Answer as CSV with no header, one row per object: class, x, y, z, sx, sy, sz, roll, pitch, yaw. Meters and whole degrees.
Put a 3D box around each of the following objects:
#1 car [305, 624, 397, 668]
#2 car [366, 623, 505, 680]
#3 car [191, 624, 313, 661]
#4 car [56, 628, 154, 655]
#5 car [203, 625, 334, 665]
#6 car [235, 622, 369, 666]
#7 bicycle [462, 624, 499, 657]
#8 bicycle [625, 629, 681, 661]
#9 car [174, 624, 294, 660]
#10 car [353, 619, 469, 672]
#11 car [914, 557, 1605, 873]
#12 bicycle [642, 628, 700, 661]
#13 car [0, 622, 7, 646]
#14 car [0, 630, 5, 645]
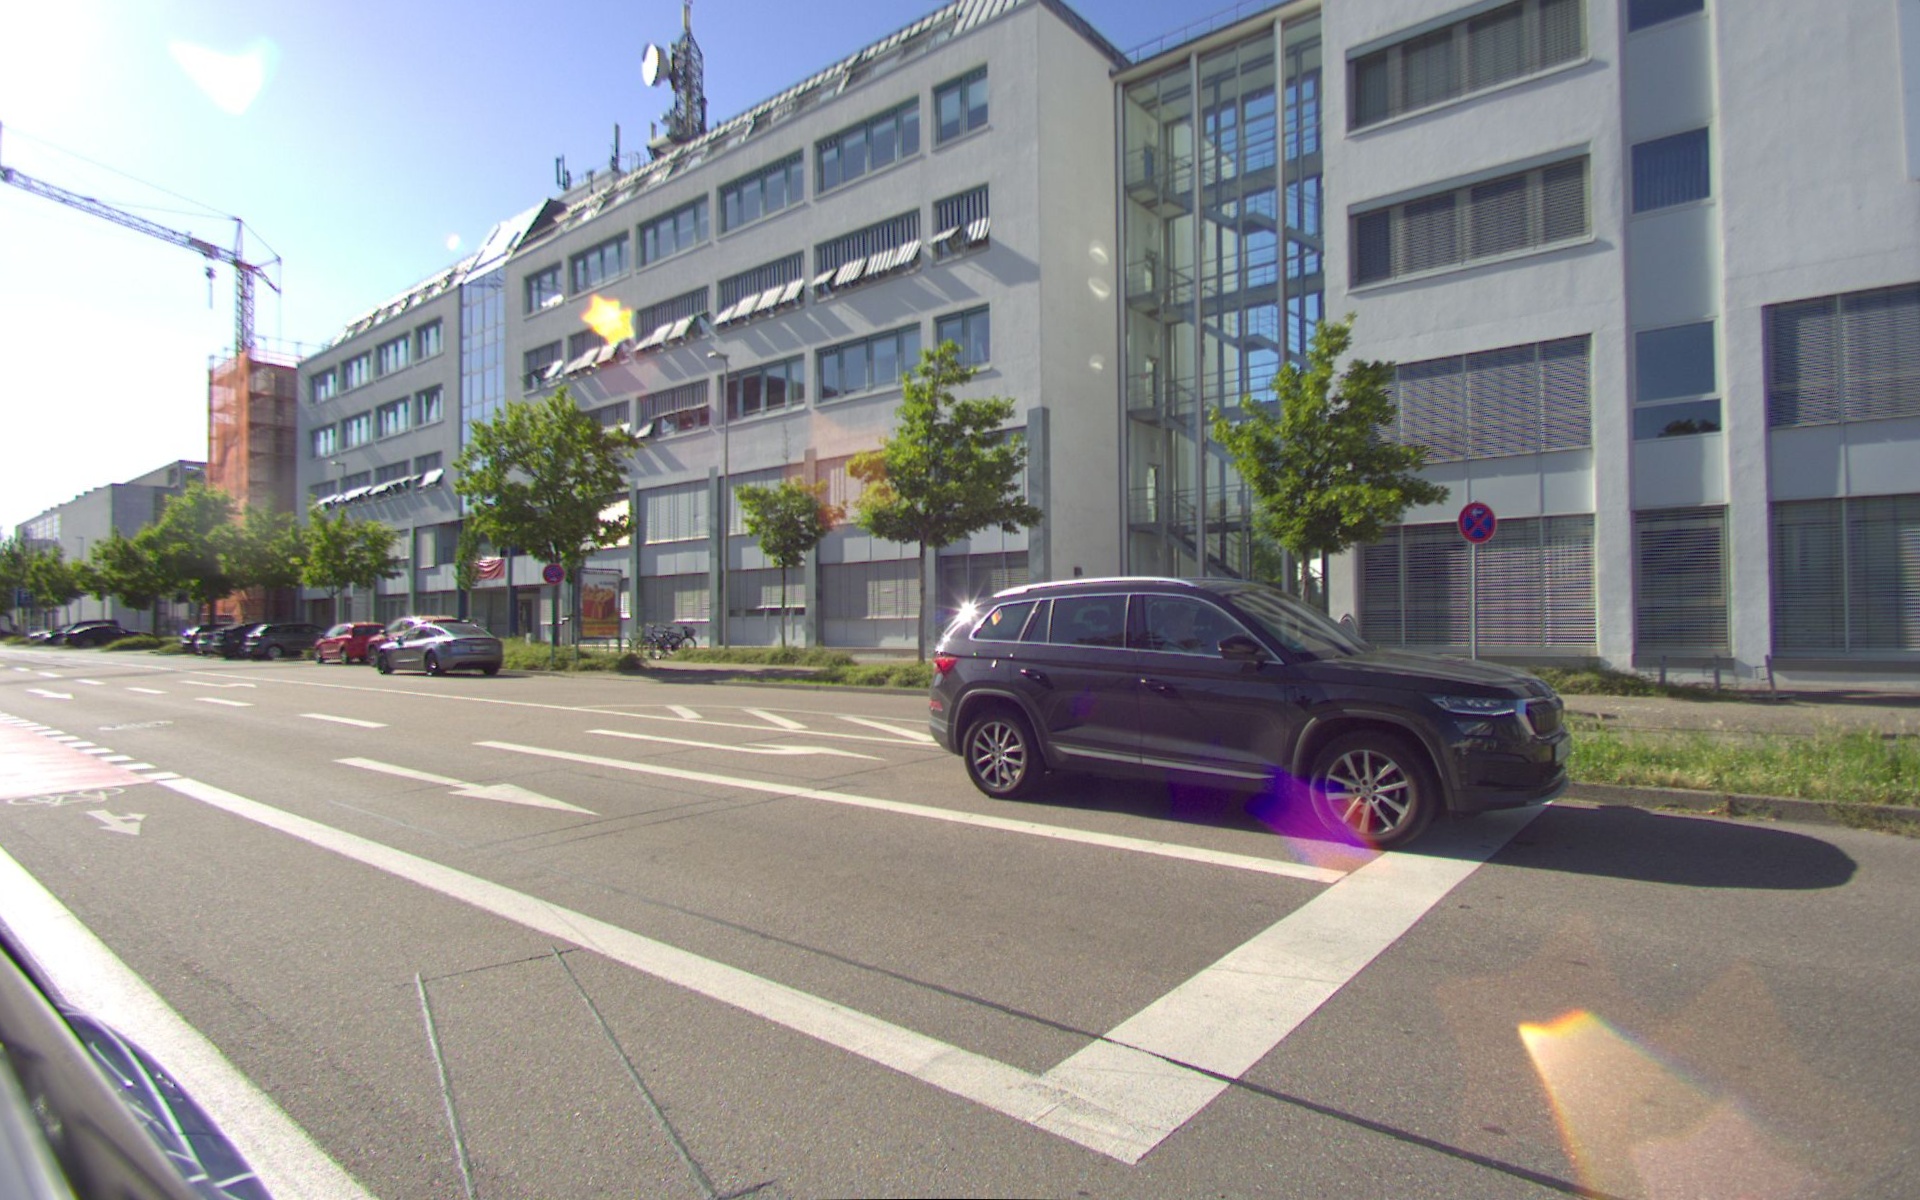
car,-22.178,1.656,36.814,3.868,1.442,1.671,-2,0,40
car,-14.763,1.424,28.380,4.539,1.479,1.672,-2,-3,37
car,-32.848,1.947,47.071,1.691,1.442,4.344,-2,0,37
car,-53.441,2.571,63.337,1.973,1.442,4.347,-2,0,36
car,-29.940,1.910,43.940,1.691,1.442,4.345,-2,0,37
car,-27.388,1.793,42.248,1.690,1.549,4.348,-2,0,35
bicycle,-20.297,1.711,42.838,0.701,1.357,2.233,2,-3,-44
bicycle,-10.401,1.526,34.355,1.746,1.077,0.556,2,-3,-43
car,-34.614,1.984,48.348,1.691,1.442,4.343,-2,1,38
car,-18.324,1.496,33.731,4.301,1.619,1.673,-2,0,36
car,1.922,0.625,7.353,4.473,1.640,1.736,-2,0,39
bicycle,-9.696,1.497,33.996,1.767,1.077,0.622,2,-3,-43
car,-103.179,3.640,105.439,2.010,2.501,5.511,-2,0,42
car,-100.571,3.934,103.329,1.692,1.525,4.262,-2,0,39
